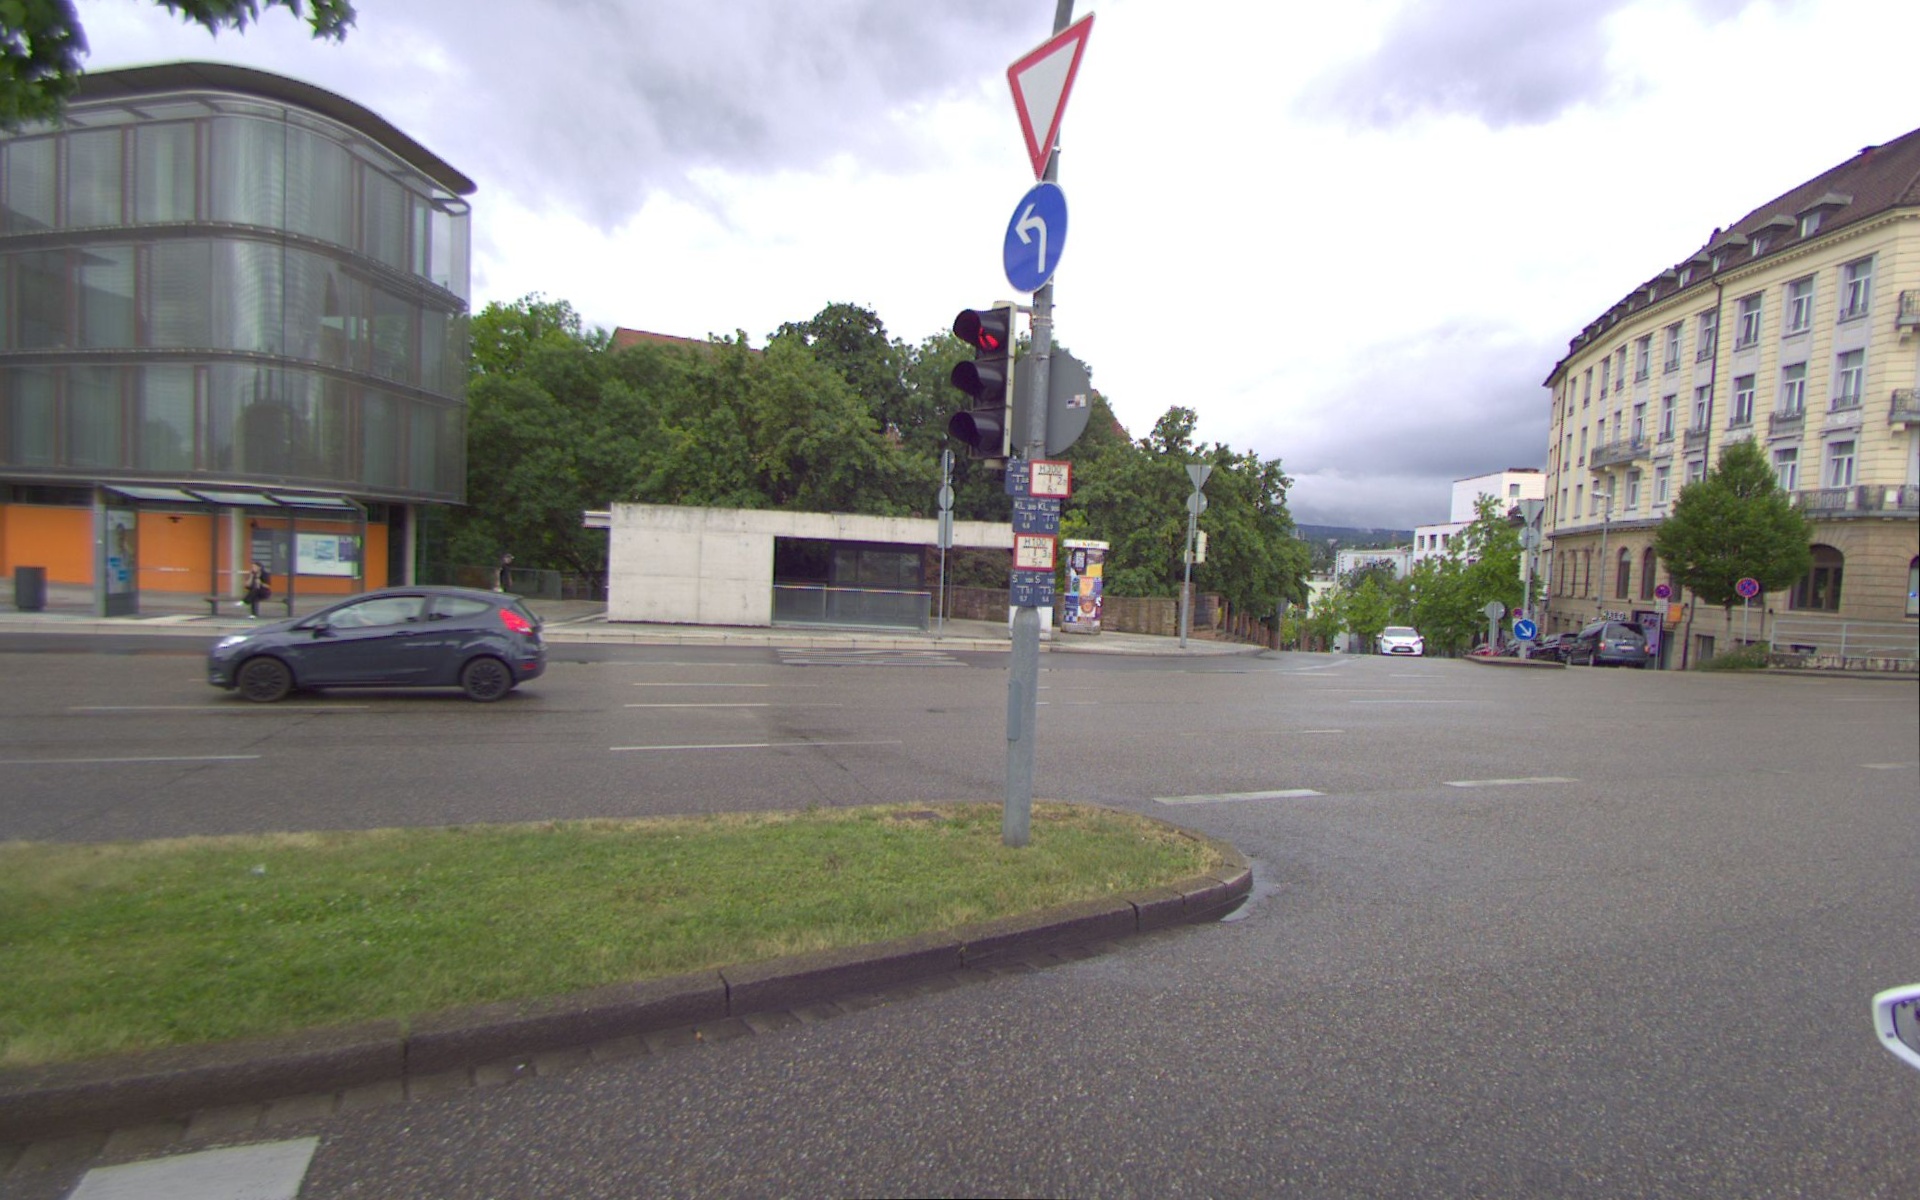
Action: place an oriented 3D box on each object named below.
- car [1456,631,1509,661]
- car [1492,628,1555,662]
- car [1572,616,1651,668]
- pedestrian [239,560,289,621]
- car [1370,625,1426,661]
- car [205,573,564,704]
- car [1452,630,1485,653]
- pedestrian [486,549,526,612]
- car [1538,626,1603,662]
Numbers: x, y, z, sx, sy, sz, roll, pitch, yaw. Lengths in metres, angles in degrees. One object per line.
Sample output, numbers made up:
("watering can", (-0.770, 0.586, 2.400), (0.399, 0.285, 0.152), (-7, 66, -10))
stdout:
("car", (29.339, 2.561, 56.504), (1.734, 1.498, 4.012), (2, 0, 14))
("car", (28.210, 2.239, 50.393), (1.734, 1.498, 4.002), (2, 0, 14))
("car", (25.197, 1.583, 38.988), (1.603, 1.783, 4.000), (2, 1, 19))
("pedestrian", (-15.493, -0.207, 22.369), (0.708, 1.316, 0.666), (2, 0, -16))
("car", (19.352, 1.885, 44.494), (1.602, 1.416, 4.002), (2, 0, 15))
("car", (-7.365, 0.515, 13.289), (3.803, 1.532, 1.676), (2, 0, -18))
("car", (38.037, 3.078, 75.217), (1.735, 1.498, 4.000), (2, 0, 20))
("pedestrian", (-13.363, -0.579, 29.582), (0.809, 1.780, 0.786), (2, 2, -1))
("car", (27.337, 1.936, 45.088), (1.603, 1.417, 4.000), (2, 1, 19))
